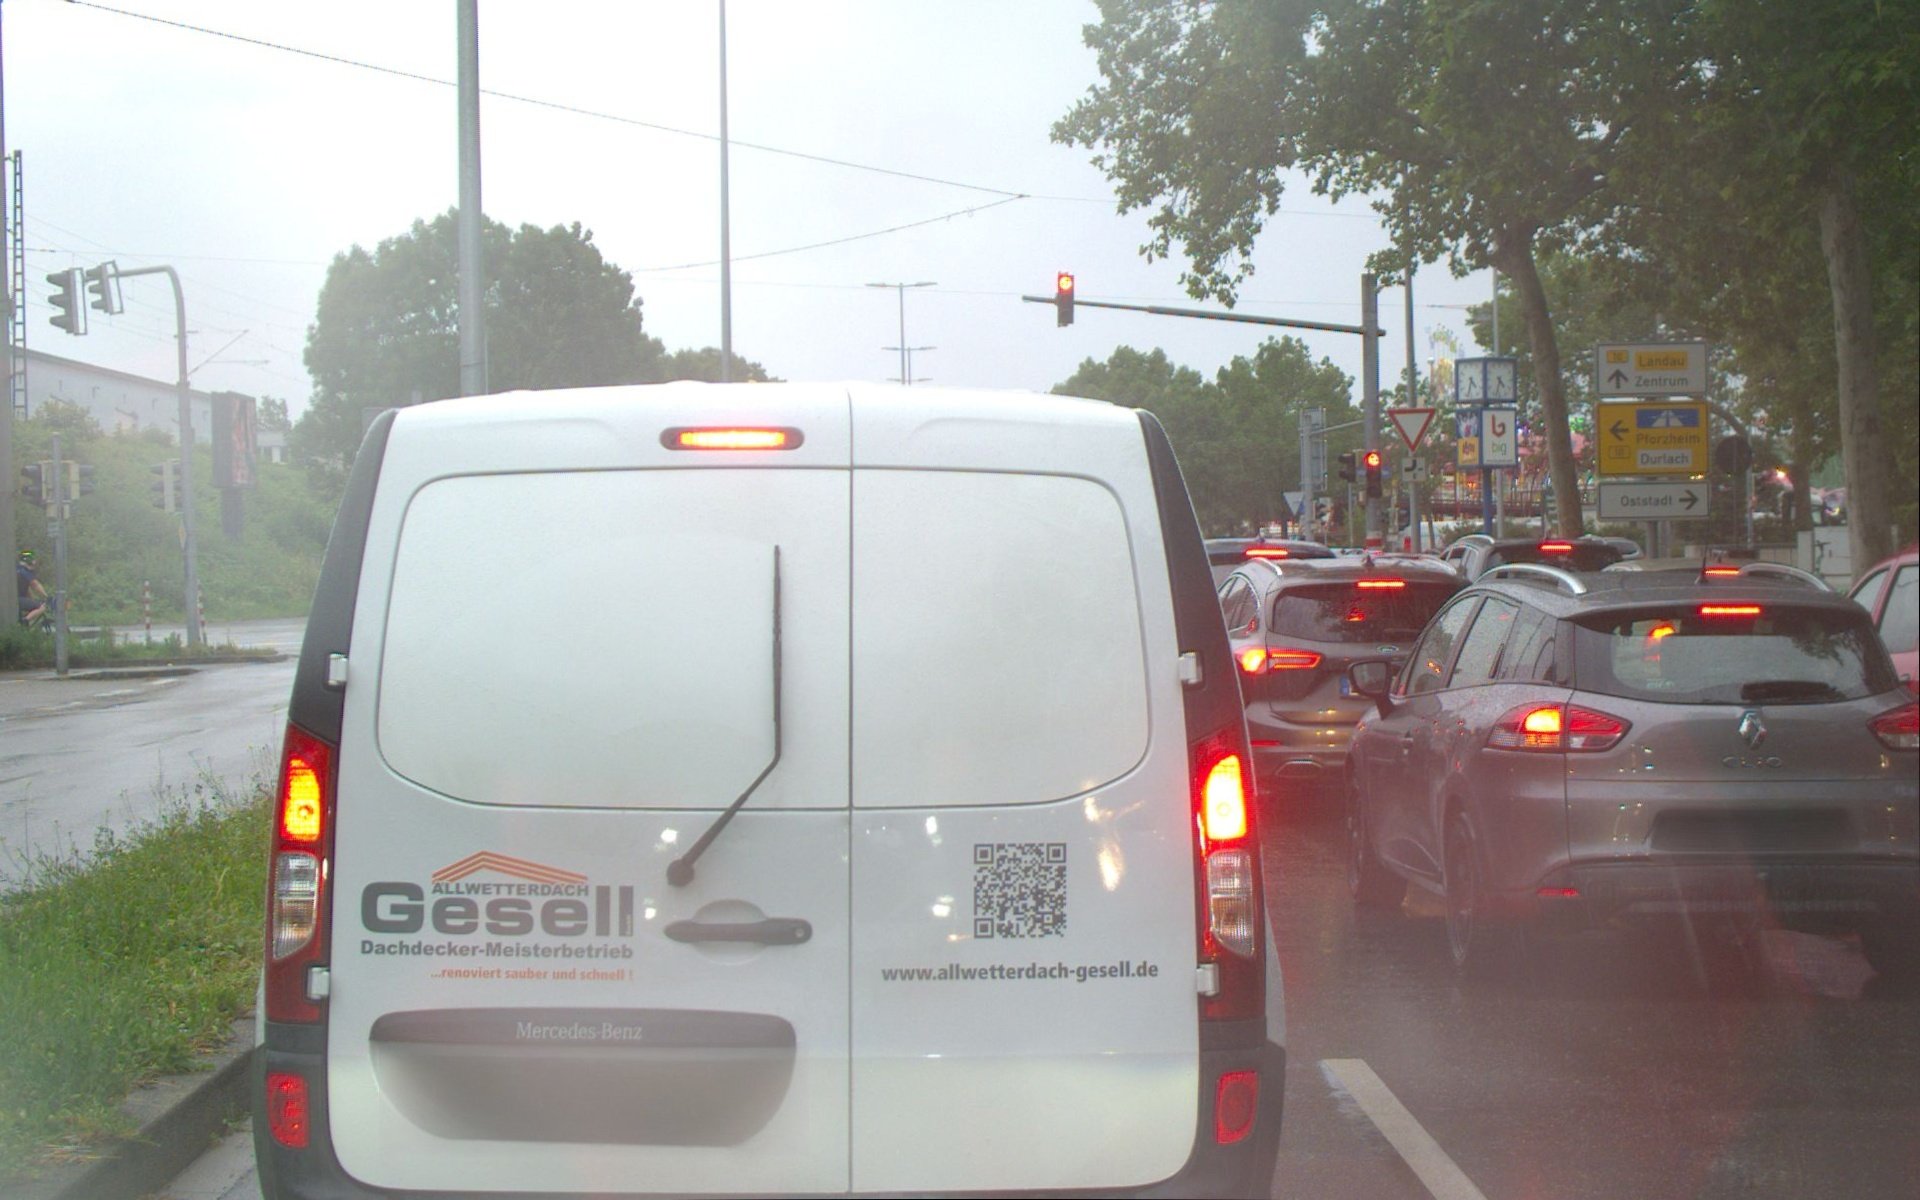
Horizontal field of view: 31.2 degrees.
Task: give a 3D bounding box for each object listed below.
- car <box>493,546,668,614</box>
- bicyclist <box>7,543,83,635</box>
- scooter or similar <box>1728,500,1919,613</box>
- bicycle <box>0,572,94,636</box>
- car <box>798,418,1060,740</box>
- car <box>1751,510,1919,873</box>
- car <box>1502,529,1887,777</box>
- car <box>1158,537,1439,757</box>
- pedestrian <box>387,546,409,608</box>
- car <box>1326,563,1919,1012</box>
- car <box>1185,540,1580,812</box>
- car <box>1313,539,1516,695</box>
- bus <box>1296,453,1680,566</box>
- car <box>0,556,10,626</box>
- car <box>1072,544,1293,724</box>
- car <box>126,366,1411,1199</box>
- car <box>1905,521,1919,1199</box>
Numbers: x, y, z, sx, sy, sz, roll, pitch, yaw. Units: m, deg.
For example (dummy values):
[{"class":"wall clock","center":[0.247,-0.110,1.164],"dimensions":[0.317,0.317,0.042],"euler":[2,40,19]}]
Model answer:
[{"class":"car","center":[-9.692,-0.531,87.855],"dimensions":[3.987,1.711,2.000],"euler":[-1,1,-36]},{"class":"bicyclist","center":[-14.772,-0.189,55.479],"dimensions":[1.040,1.445,0.729],"euler":[-2,2,-25]},{"class":"scooter or similar","center":[19.981,-0.986,77.060],"dimensions":[1.890,2.437,5.316],"euler":[-1,1,-41]},{"class":"bicycle","center":[-14.807,0.053,55.578],"dimensions":[1.040,0.949,2.889],"euler":[-2,2,-25]},{"class":"car","center":[-0.240,-0.189,26.364],"dimensions":[1.854,2.288,3.843],"euler":[0,1,-1]},{"class":"car","center":[5.322,0.431,17.114],"dimensions":[1.710,1.688,4.272],"euler":[1,0,-1]},{"class":"car","center":[5.272,0.320,25.198],"dimensions":[1.876,1.607,4.000],"euler":[1,1,-1]},{"class":"car","center":[2.669,0.319,27.858],"dimensions":[1.854,1.644,3.843],"euler":[0,1,-1]},{"class":"pedestrian","center":[-15.719,-0.651,96.203],"dimensions":[0.543,1.710,0.563],"euler":[1,0,-4]},{"class":"car","center":[2.495,0.593,13.093],"dimensions":[1.683,1.403,3.843],"euler":[1,1,-1]},{"class":"car","center":[2.428,0.380,20.631],"dimensions":[1.854,1.455,3.843],"euler":[0,1,-1]},{"class":"car","center":[5.051,0.162,38.632],"dimensions":[1.708,1.644,3.843],"euler":[0,1,-1]},{"class":"bus","center":[16.954,-2.920,110.874],"dimensions":[11.970,3.411,2.315],"euler":[-1,1,0]},{"class":"car","center":[-23.996,-0.157,78.022],"dimensions":[4.235,1.590,2.000],"euler":[-2,1,-35]},{"class":"car","center":[2.111,0.292,33.522],"dimensions":[1.854,1.644,3.843],"euler":[0,1,-1]},{"class":"car","center":[-0.320,0.475,7.649],"dimensions":[1.993,1.770,4.585],"euler":[0,1,-1]},{"class":"car","center":[2.973,0.644,5.407],"dimensions":[1.747,1.549,4.091],"euler":[0,1,-1]}]
